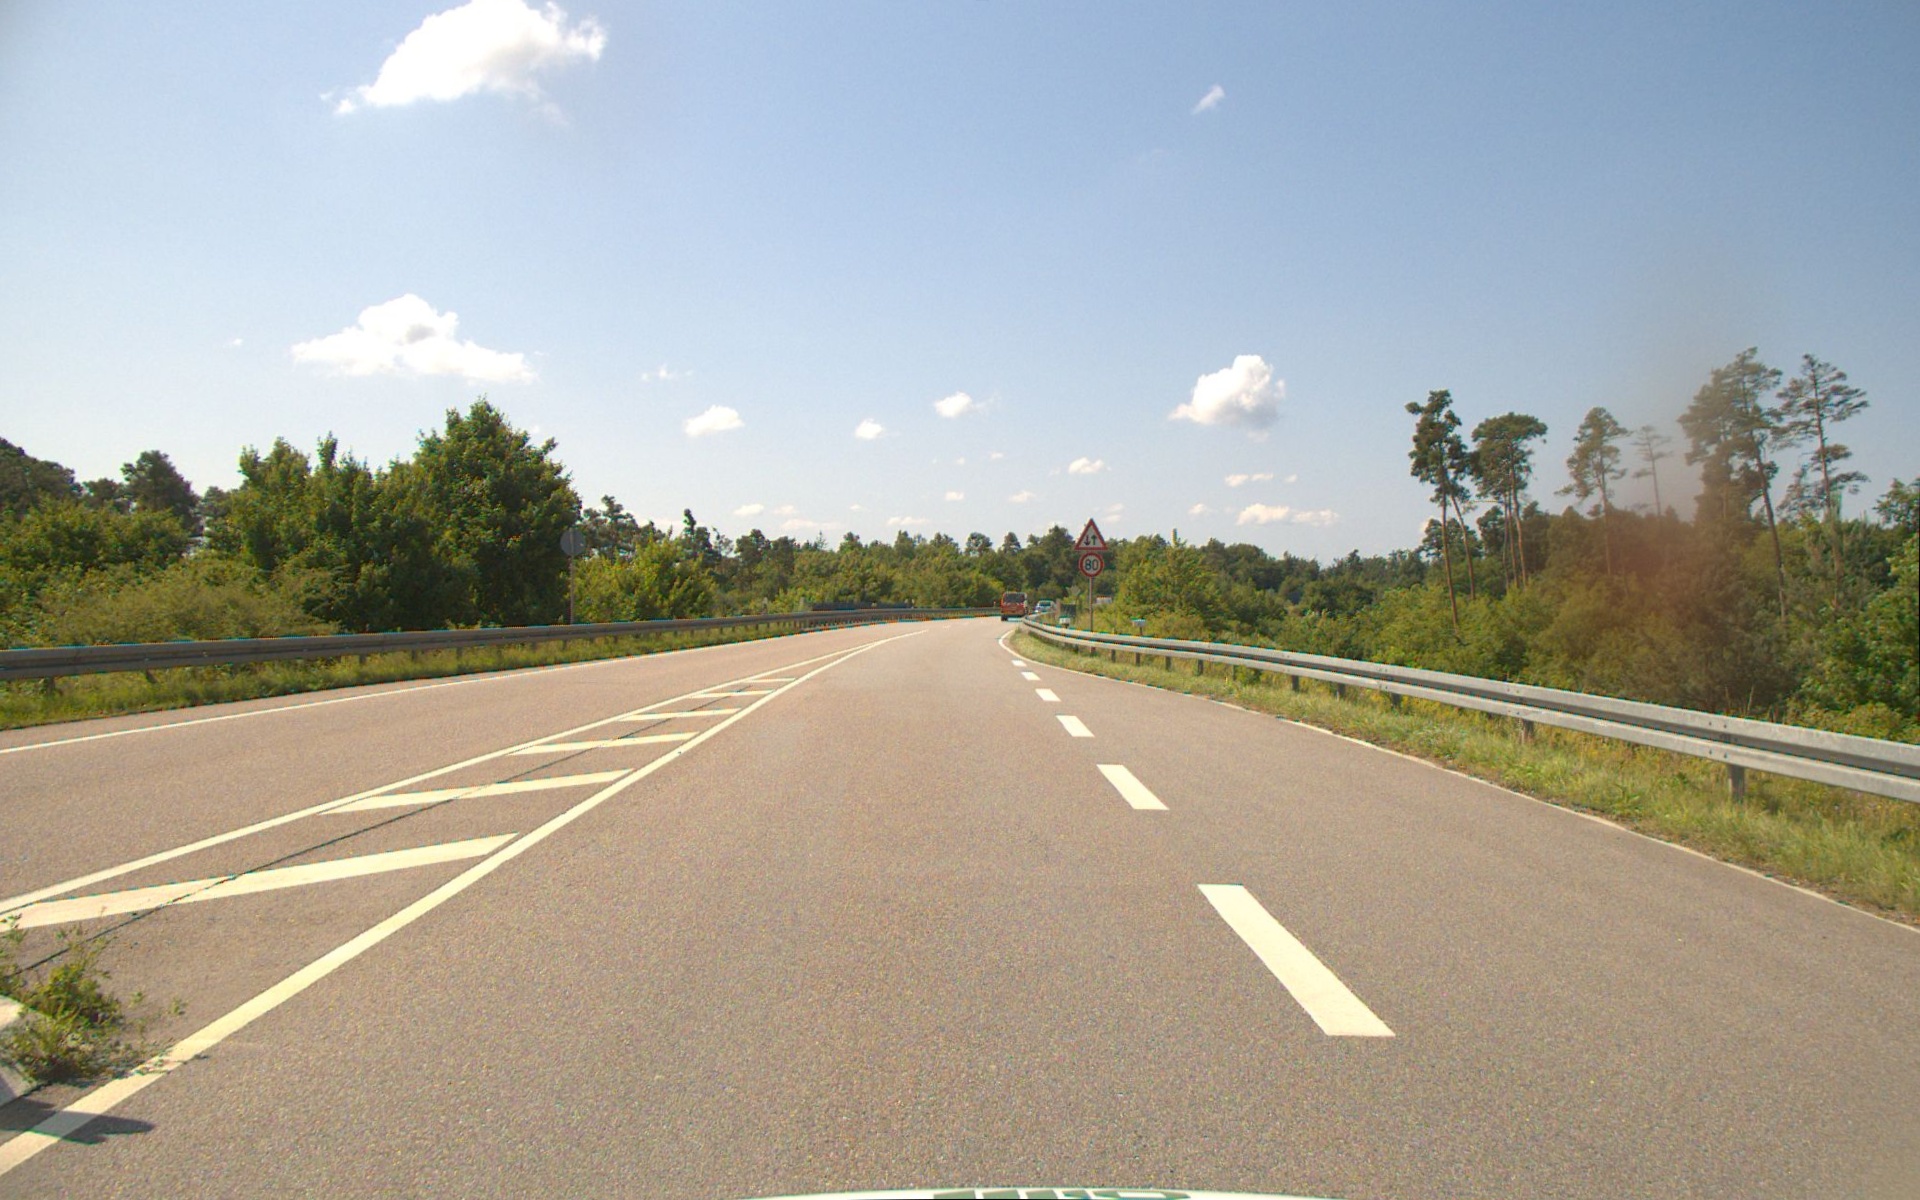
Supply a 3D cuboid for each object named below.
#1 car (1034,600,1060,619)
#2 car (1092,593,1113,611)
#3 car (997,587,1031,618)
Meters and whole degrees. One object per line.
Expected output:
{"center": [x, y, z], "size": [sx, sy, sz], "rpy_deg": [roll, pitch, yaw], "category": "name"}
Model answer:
{"center": [7.224, 0.808, 137.123], "size": [1.965, 1.520, 4.241], "rpy_deg": [1, -1, 6], "category": "car"}
{"center": [16.784, 0.269, 194.203], "size": [2.138, 1.989, 5.808], "rpy_deg": [2, 0, 8], "category": "car"}
{"center": [3.792, 0.206, 115.427], "size": [2.033, 2.028, 5.115], "rpy_deg": [1, -1, 6], "category": "car"}
